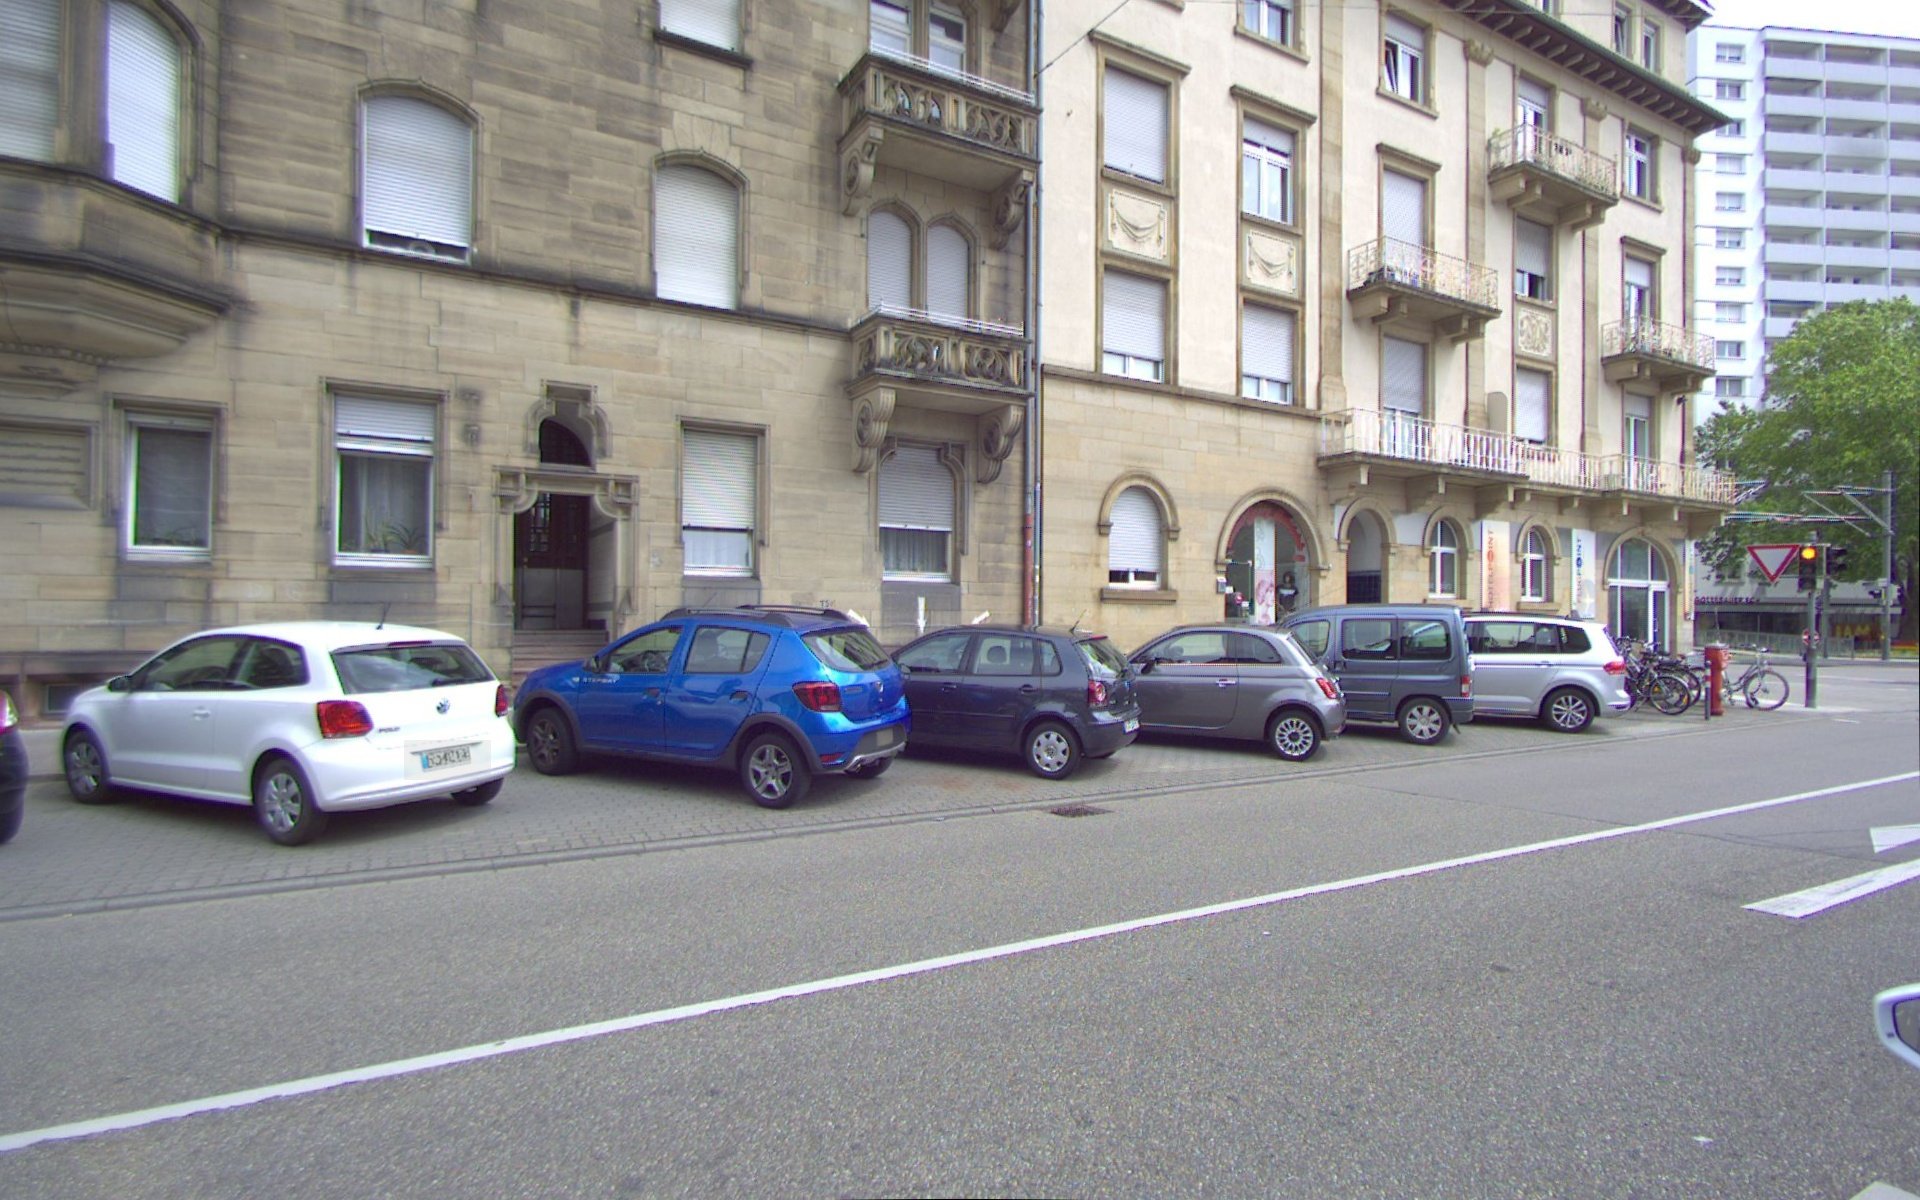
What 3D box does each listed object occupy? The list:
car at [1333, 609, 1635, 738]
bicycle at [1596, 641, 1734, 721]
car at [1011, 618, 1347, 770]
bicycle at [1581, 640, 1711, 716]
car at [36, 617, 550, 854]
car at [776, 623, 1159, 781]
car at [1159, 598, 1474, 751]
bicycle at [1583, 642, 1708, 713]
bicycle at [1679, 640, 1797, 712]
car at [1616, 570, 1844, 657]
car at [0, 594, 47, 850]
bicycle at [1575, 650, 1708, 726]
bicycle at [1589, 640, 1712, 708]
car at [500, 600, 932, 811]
[{"bbox_3d":[7.890,1.047,15.551,3.934,1.797,1.796,0,-1,22],"label":"car"},{"bbox_3d":[11.862,1.334,16.971,0.586,1.135,1.803,1,2,-25],"label":"bicycle"},{"bbox_3d":[2.798,1.071,12.737,3.934,1.673,1.796,0,-1,22],"label":"car"},{"bbox_3d":[12.186,1.363,17.892,0.588,1.182,1.796,1,1,-37],"label":"bicycle"},{"bbox_3d":[-5.271,0.892,7.953,3.616,1.501,1.741,0,-1,25],"label":"car"},{"bbox_3d":[0.086,0.998,11.111,3.830,1.463,1.836,0,-1,25],"label":"car"},{"bbox_3d":[4.932,0.954,14.132,3.934,1.903,1.796,0,-1,22],"label":"car"},{"bbox_3d":[12.607,1.397,18.521,0.588,1.135,1.796,1,1,-37],"label":"bicycle"},{"bbox_3d":[14.459,1.381,18.734,0.489,1.182,1.878,2,1,-9],"label":"bicycle"},{"bbox_3d":[38.388,0.728,50.759,3.389,3.967,9.911,0,-1,-5],"label":"car"},{"bbox_3d":[-7.974,0.750,6.551,3.939,1.585,1.794,0,-1,29],"label":"car"},{"bbox_3d":[11.266,1.429,16.676,0.586,1.135,1.805,1,-1,-23],"label":"bicycle"},{"bbox_3d":[13.043,1.369,19.017,0.588,1.135,1.796,1,1,-37],"label":"bicycle"},{"bbox_3d":[-2.303,0.856,9.502,3.706,1.673,1.723,0,-1,24],"label":"car"}]
